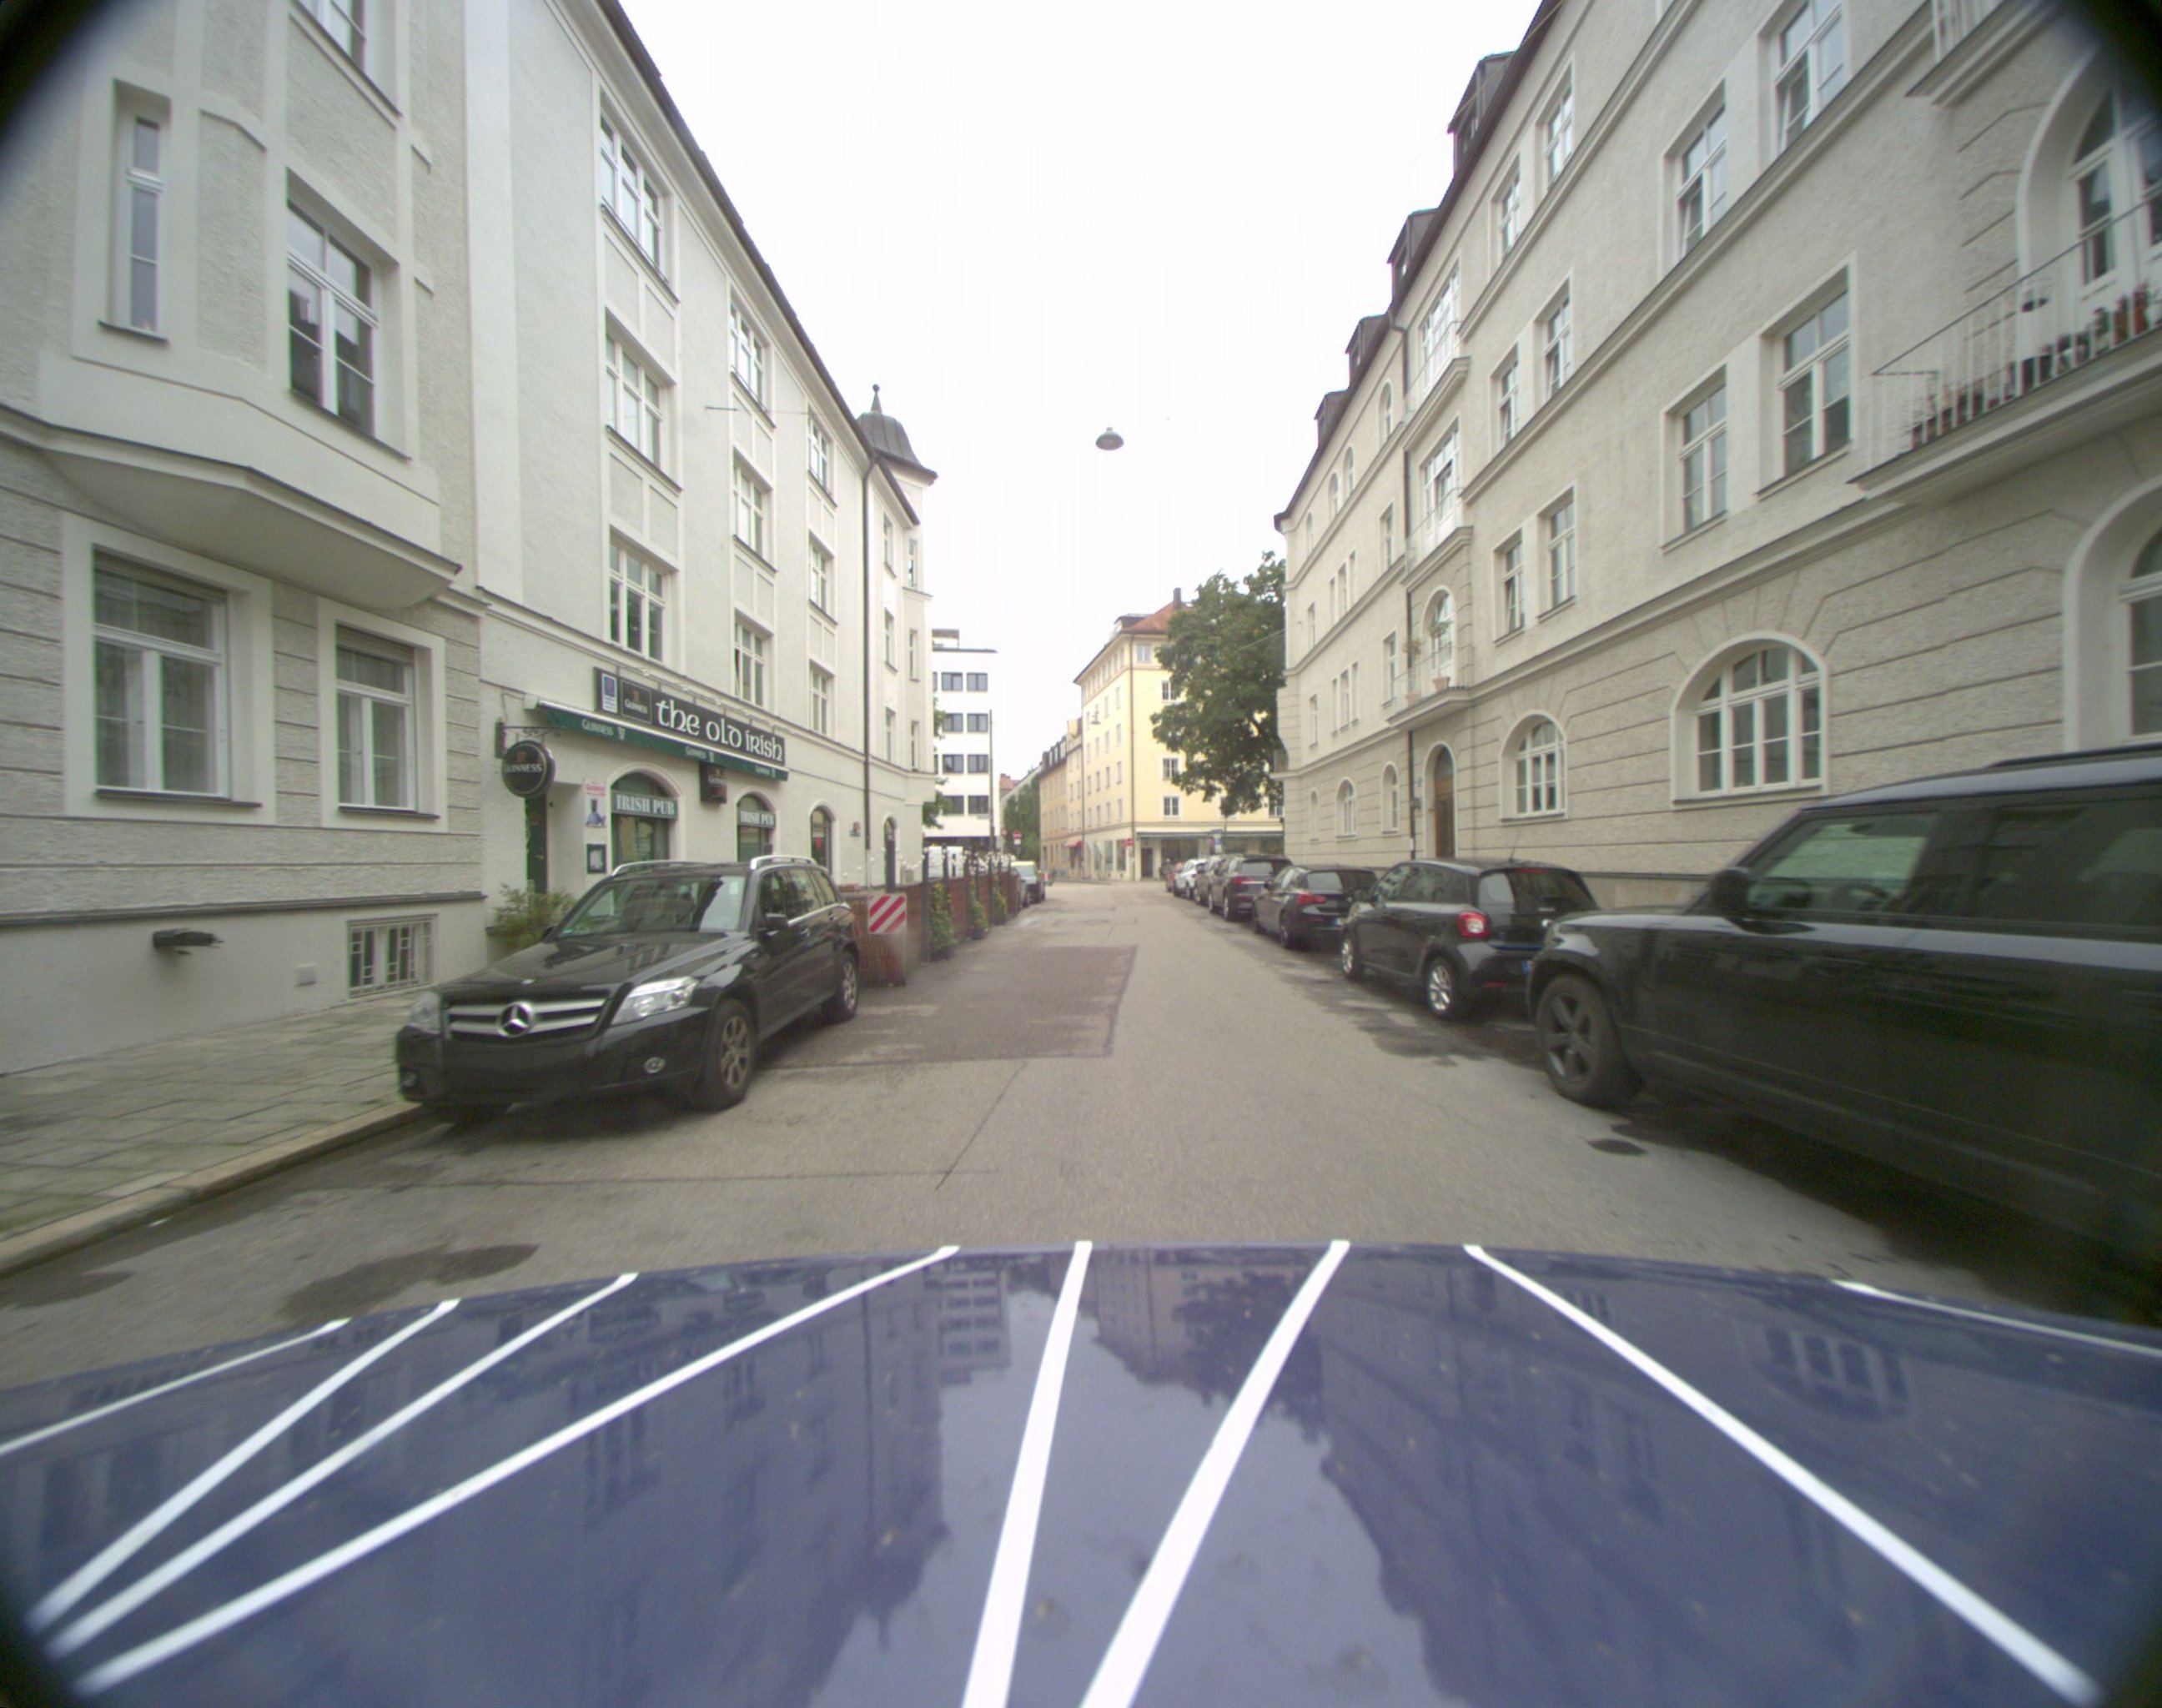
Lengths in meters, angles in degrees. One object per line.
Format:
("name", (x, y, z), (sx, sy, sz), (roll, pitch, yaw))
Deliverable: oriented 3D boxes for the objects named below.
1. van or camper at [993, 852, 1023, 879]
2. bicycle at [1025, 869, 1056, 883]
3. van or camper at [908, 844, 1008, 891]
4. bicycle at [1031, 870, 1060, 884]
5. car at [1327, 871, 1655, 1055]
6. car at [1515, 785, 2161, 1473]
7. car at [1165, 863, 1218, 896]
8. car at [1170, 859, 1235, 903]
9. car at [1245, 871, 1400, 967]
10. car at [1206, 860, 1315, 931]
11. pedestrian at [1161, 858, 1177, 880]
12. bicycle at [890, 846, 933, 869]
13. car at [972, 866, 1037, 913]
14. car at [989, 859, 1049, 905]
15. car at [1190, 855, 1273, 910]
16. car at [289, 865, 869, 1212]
("van or camper", (-7.206, 1.080, 74.228), (1.968, 2.494, 5.716), (-1, 0, -15))
("bicycle", (-3.026, 1.649, 56.553), (2.175, 0.958, 0.974), (-1, 0, -11))
("van or camper", (-7.439, 0.823, 46.325), (5.870, 2.696, 2.304), (-1, -3, -7))
("bicycle", (-2.543, 1.620, 54.259), (1.995, 0.958, 0.973), (-1, 0, -11))
("car", (4.085, 0.979, 8.275), (1.620, 1.504, 3.531), (0, 0, -1))
("car", (3.884, 0.775, 2.726), (1.841, 1.883, 4.763), (1, 0, -1))
("car", (4.972, 1.104, 34.622), (1.685, 1.385, 4.479), (0, 0, -1))
("car", (4.697, 1.001, 29.822), (1.699, 1.559, 3.949), (-1, 0, -4))
("car", (4.208, 1.060, 13.895), (1.658, 1.398, 4.092), (1, 0, 2))
("car", (4.433, 0.956, 19.429), (1.880, 1.590, 4.435), (-1, 0, 2))
("pedestrian", (6.480, 1.078, 55.824), (0.920, 1.601, 0.777), (-1, 0, 30))
("bicycle", (-8.465, 0.195, 37.987), (2.009, 1.123, 0.687), (-1, 0, 5))
("car", (-2.514, 1.145, 25.708), (1.670, 1.392, 3.493), (-3, 0, 1))
("car", (-2.377, 1.052, 30.040), (1.841, 1.609, 4.095), (-3, 0, 1))
("car", (4.874, 0.884, 25.107), (1.841, 1.667, 4.213), (-1, 0, -1))
("car", (-3.182, 0.985, 6.038), (1.805, 1.665, 4.189), (-3, 0, -1))
